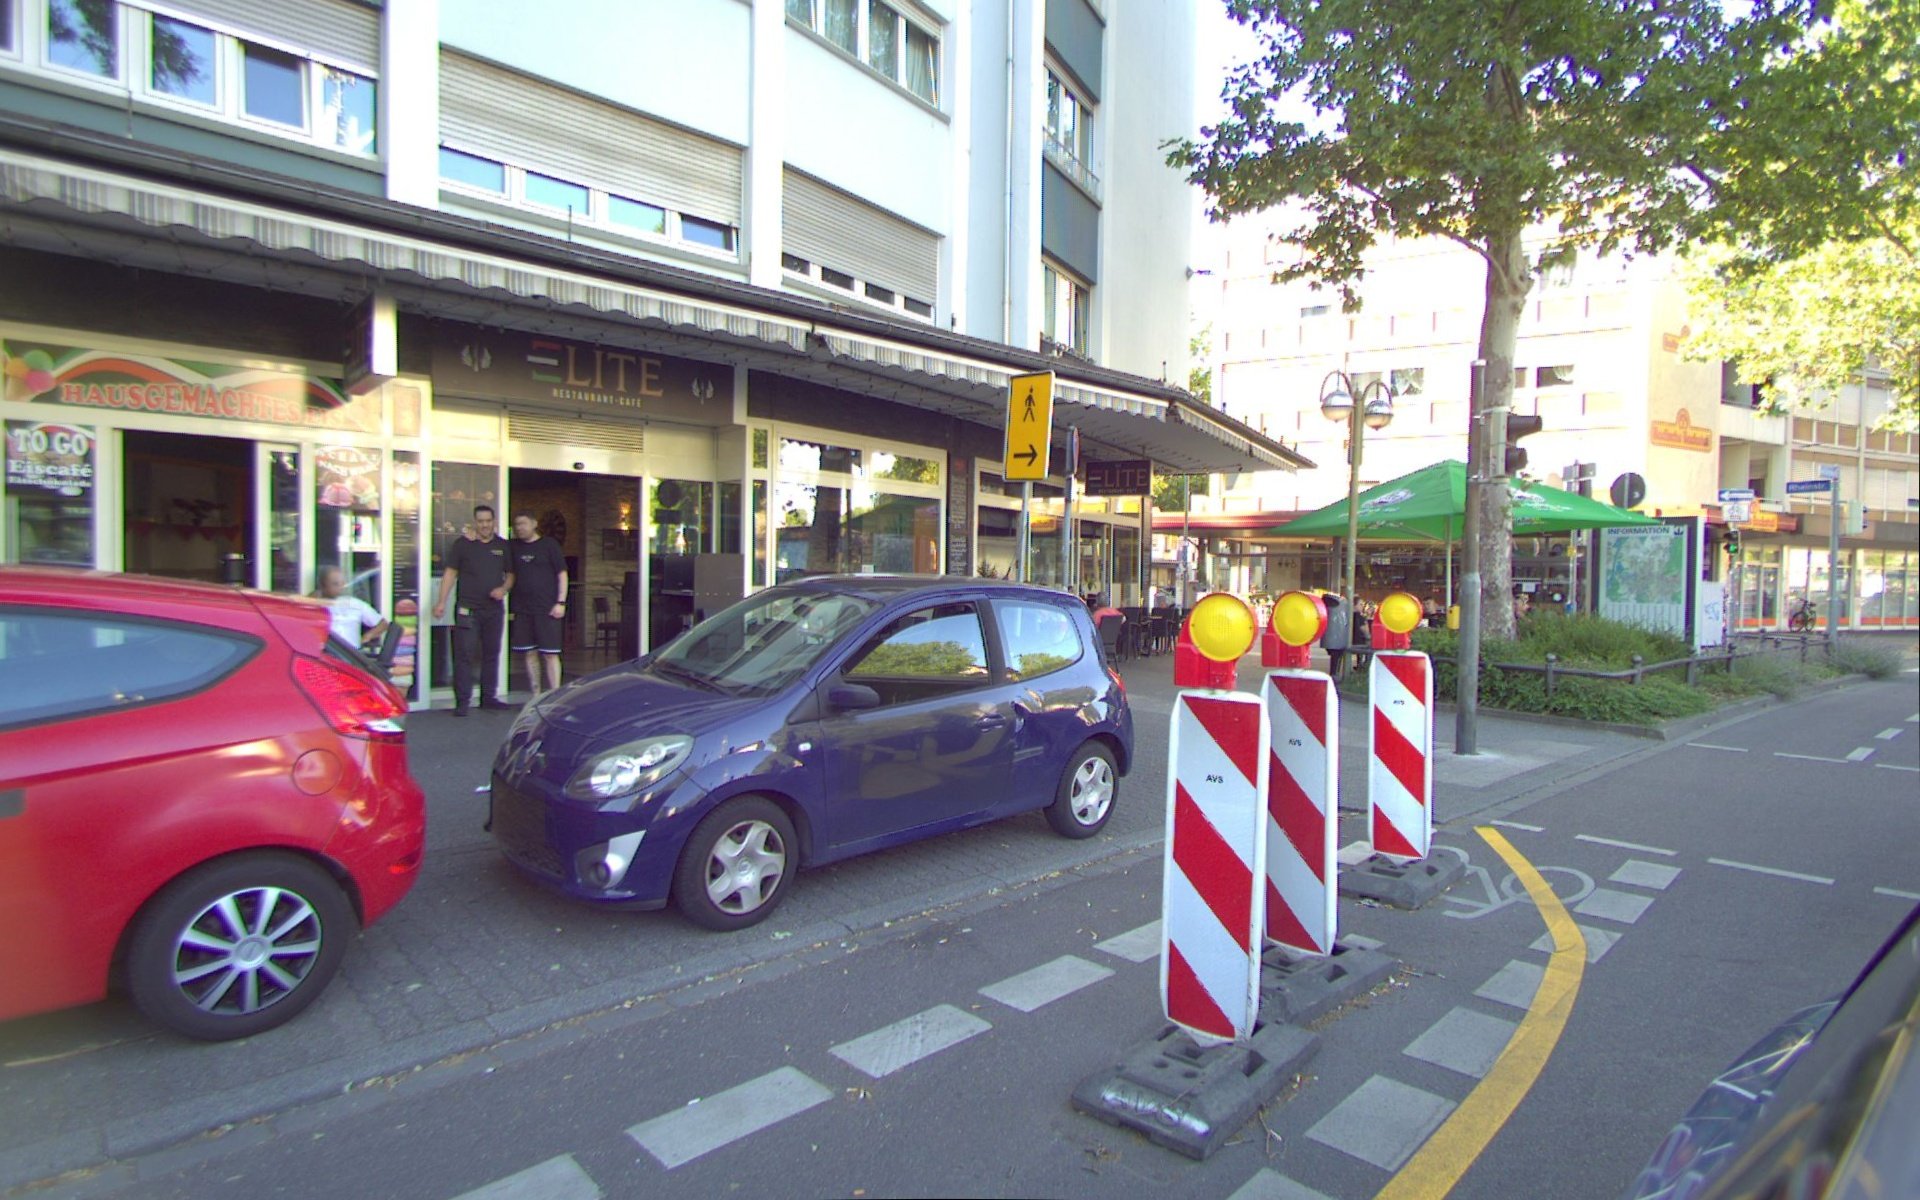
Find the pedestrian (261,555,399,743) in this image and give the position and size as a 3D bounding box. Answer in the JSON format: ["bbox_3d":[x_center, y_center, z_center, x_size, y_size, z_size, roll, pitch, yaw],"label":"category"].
[{"bbox_3d":[-4.818,0.318,7.716,0.765,1.247,1.207,-1,5,-38],"label":"pedestrian"}]

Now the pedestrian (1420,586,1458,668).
[{"bbox_3d":[7.461,0.414,15.775,0.427,1.234,0.465,3,2,20],"label":"pedestrian"}]

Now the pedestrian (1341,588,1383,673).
[{"bbox_3d":[5.955,0.447,14.996,0.460,1.235,0.432,1,0,5],"label":"pedestrian"}]

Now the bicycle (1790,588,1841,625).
[{"bbox_3d":[28.131,0.209,33.258,1.933,1.157,0.530,0,1,-26],"label":"bicycle"}]

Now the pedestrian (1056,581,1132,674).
[{"bbox_3d":[1.861,0.363,14.032,0.838,1.213,0.644,3,1,27],"label":"pedestrian"}]

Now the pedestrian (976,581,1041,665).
[{"bbox_3d":[0.708,0.317,14.661,0.710,1.144,0.645,3,1,25],"label":"pedestrian"}]

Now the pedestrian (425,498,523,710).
[{"bbox_3d":[-4.235,0.019,8.806,0.587,1.756,0.589,1,3,-41],"label":"pedestrian"}]

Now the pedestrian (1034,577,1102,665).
[{"bbox_3d":[1.592,0.294,14.922,0.664,1.233,0.706,3,1,43],"label":"pedestrian"}]

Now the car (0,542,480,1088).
[{"bbox_3d":[-3.638,0.561,2.857,1.667,1.446,3.786,5,4,44],"label":"car"}]

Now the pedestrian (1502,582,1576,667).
[{"bbox_3d":[9.274,0.376,16.228,0.753,1.301,0.720,0,1,-28],"label":"pedestrian"}]

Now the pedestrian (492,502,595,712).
[{"bbox_3d":[-3.708,0.040,9.009,0.636,1.780,0.611,1,3,-42],"label":"pedestrian"}]

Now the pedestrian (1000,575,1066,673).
[{"bbox_3d":[0.998,0.311,13.757,0.644,1.267,0.711,3,1,25],"label":"pedestrian"}]

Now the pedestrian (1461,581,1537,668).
[{"bbox_3d":[8.423,0.367,15.826,0.752,1.301,0.721,0,1,-27],"label":"pedestrian"}]

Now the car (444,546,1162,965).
[{"bbox_3d":[-0.638,0.528,5.503,3.545,1.484,1.621,0,4,-44],"label":"car"}]

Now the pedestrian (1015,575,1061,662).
[{"bbox_3d":[1.171,0.270,15.283,0.541,1.259,0.521,2,1,-7],"label":"pedestrian"}]

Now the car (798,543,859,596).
[{"bbox_3d":[-4.645,-1.068,36.171,1.960,1.771,4.004,1,1,-5],"label":"car"}]

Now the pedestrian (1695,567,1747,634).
[{"bbox_3d":[20.589,0.008,27.373,0.883,1.779,0.751,0,1,-24],"label":"pedestrian"}]
